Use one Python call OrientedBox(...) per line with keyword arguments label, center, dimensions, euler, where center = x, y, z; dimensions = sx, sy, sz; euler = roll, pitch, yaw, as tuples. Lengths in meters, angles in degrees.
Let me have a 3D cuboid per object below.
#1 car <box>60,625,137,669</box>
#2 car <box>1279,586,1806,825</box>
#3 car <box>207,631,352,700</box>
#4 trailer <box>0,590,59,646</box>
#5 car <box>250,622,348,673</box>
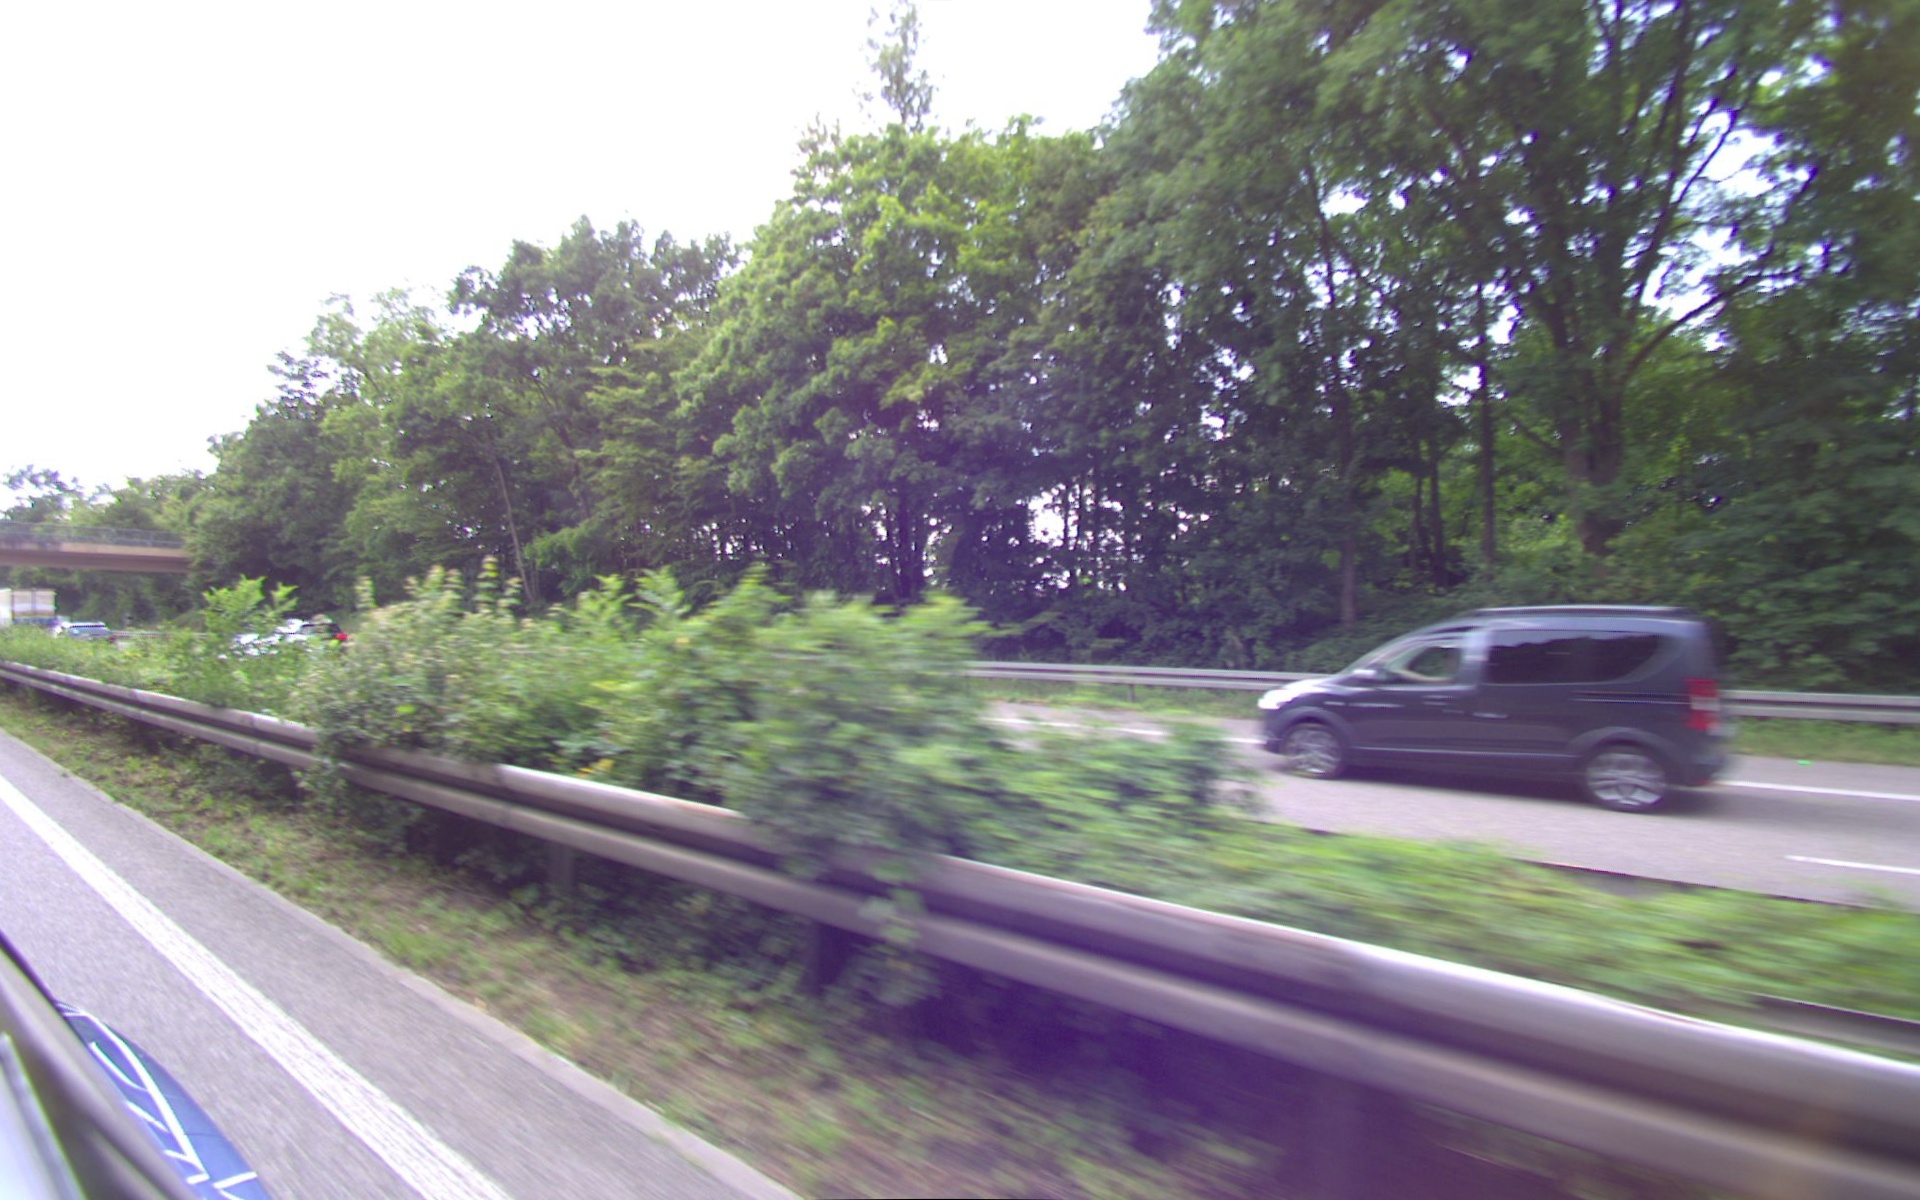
OrientedBox(label="car", center=(-33.590, 1.783, 39.439), dimensions=(3.998, 1.643, 1.698), euler=(-1, -2, 41))
OrientedBox(label="car", center=(5.668, 0.883, 10.158), dimensions=(4.275, 1.884, 1.973), euler=(-1, -2, 41))
OrientedBox(label="car", center=(-16.576, 1.514, 24.549), dimensions=(4.715, 1.443, 1.765), euler=(-1, -1, 41))
OrientedBox(label="trailer", center=(-72.936, 1.443, 78.792), dimensions=(9.971, 4.073, 3.027), euler=(-1, -2, 42))
OrientedBox(label="car", center=(-23.955, 1.659, 36.613), dimensions=(4.592, 1.674, 1.809), euler=(-1, -1, 41))
